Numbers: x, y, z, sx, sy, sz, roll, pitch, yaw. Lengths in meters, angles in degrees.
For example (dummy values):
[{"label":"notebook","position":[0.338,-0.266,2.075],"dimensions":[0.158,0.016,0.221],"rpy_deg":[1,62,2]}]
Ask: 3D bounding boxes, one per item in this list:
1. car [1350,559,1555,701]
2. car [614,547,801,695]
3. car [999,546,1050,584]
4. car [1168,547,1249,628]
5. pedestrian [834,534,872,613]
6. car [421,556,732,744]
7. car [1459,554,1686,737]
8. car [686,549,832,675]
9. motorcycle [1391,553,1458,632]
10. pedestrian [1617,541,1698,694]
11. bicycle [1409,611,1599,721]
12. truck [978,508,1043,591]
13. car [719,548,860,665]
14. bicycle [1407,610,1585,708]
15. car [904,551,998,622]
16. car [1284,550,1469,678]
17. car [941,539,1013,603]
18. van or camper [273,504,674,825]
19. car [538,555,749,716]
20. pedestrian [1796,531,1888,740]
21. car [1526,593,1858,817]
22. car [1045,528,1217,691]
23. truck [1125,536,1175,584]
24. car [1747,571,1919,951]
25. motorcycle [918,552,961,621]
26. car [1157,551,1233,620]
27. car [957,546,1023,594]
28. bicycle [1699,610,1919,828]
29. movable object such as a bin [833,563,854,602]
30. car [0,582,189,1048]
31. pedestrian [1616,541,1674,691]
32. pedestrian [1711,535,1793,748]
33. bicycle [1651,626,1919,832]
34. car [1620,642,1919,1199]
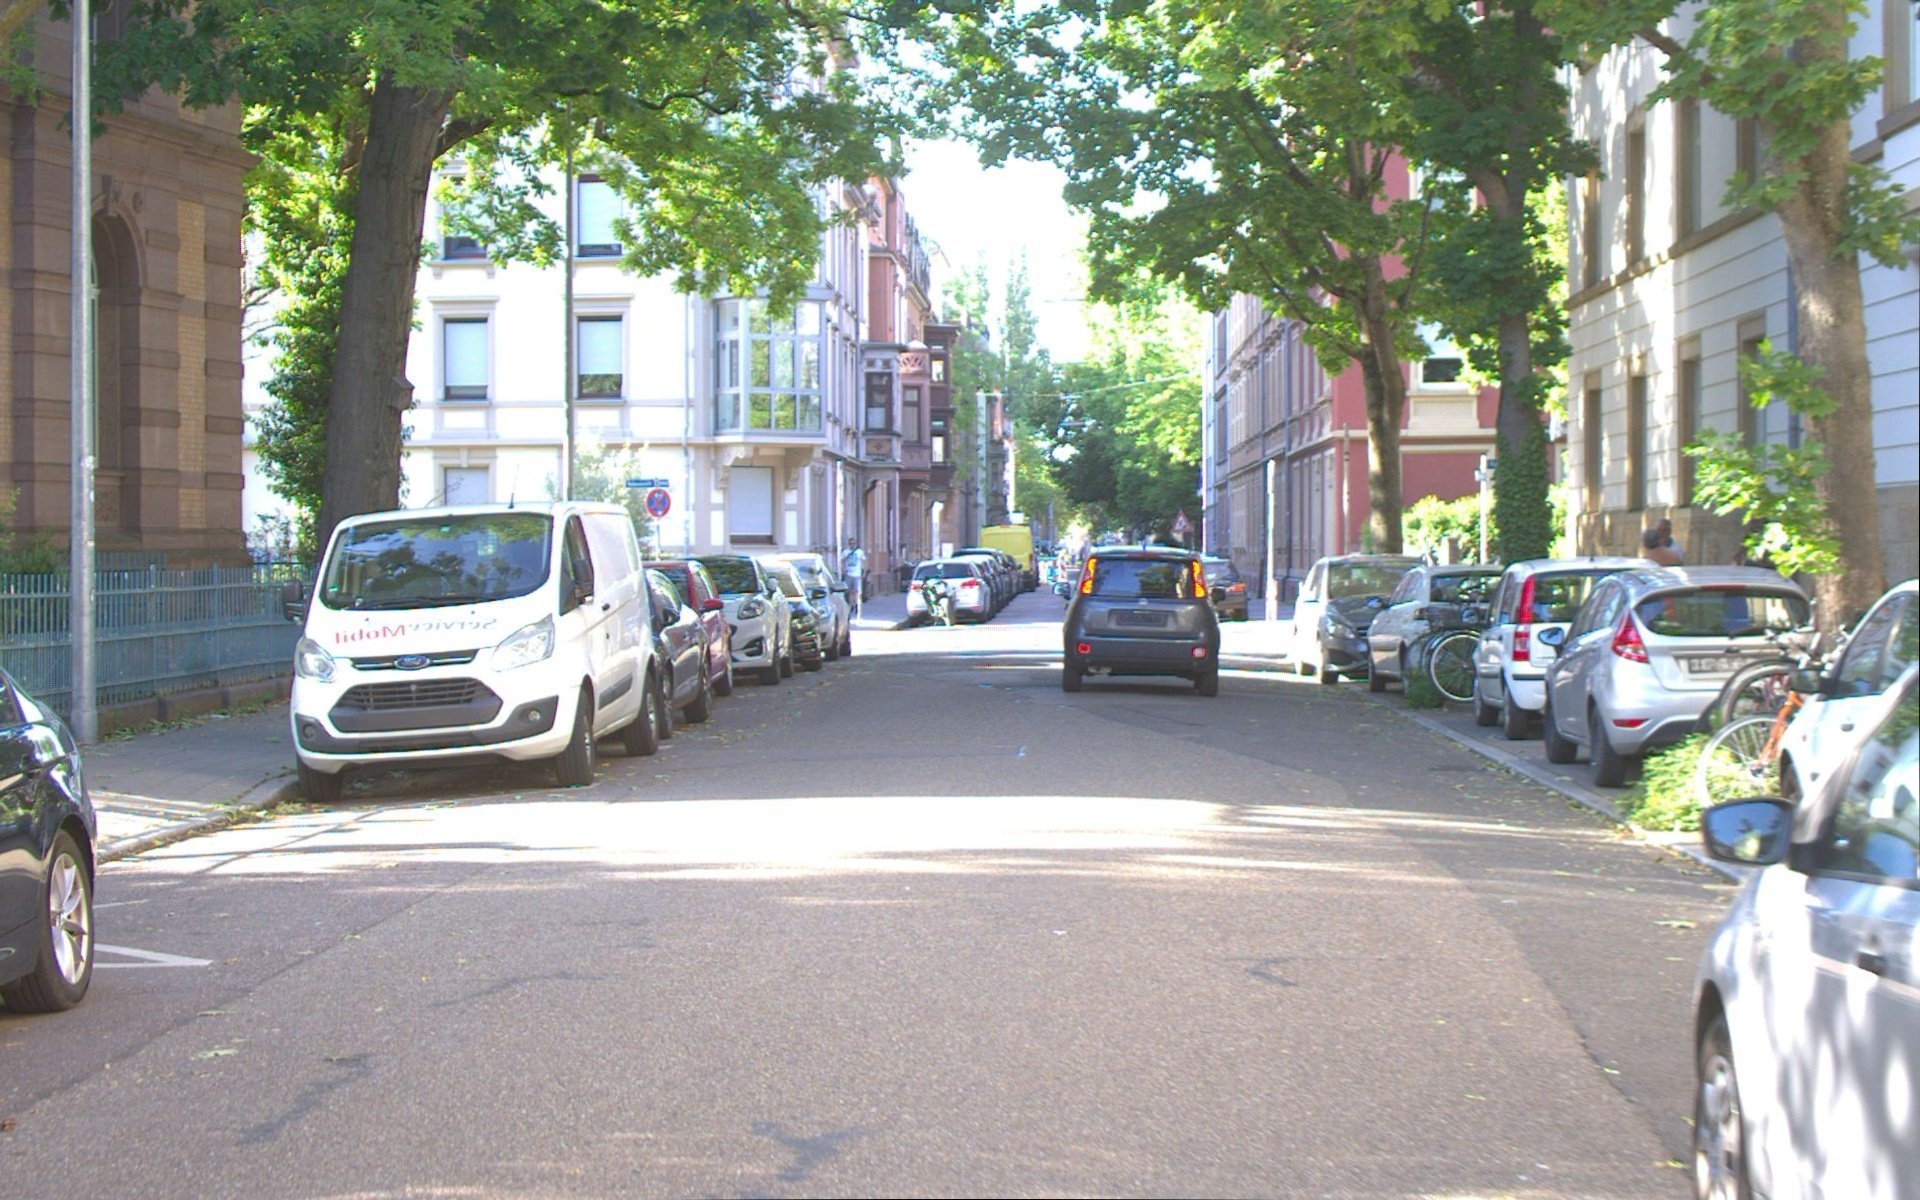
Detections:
[{"label":"car","position":[5.429,0.295,38.306],"dimensions":[1.610,1.473,3.871],"rpy_deg":[0,1,-2]},{"label":"car","position":[-2.931,0.208,40.653],"dimensions":[1.825,1.548,4.134],"rpy_deg":[-4,1,0]},{"label":"car","position":[2.736,-1.493,145.083],"dimensions":[1.962,1.474,3.924],"rpy_deg":[-3,1,3]},{"label":"car","position":[5.371,-0.292,74.545],"dimensions":[1.663,1.663,3.756],"rpy_deg":[1,1,3]},{"label":"pedestrian","position":[-2.530,-0.625,81.016],"dimensions":[0.723,1.833,0.626],"rpy_deg":[1,1,14]},{"label":"car","position":[-3.291,0.383,30.429],"dimensions":[2.001,1.452,4.606],"rpy_deg":[-2,1,2]},{"label":"car","position":[5.325,0.357,30.229],"dimensions":[1.520,1.505,3.543],"rpy_deg":[0,1,3]},{"label":"car","position":[-2.658,0.119,45.557],"dimensions":[1.746,1.469,4.465],"rpy_deg":[-4,1,-3]},{"label":"motorcycle","position":[8.897,-0.161,65.839],"dimensions":[1.020,1.399,2.191],"rpy_deg":[0,3,14]},{"label":"pedestrian","position":[7.852,0.188,38.720],"dimensions":[0.778,1.688,0.874],"rpy_deg":[1,1,5]},{"label":"bicycle","position":[5.330,0.640,33.760],"dimensions":[1.770,1.036,0.606],"rpy_deg":[1,1,3]},{"label":"truck","position":[1.934,-1.907,129.832],"dimensions":[2.070,2.916,5.067],"rpy_deg":[-4,1,3]},{"label":"car","position":[-2.477,0.061,50.655],"dimensions":[1.696,1.545,3.919],"rpy_deg":[-3,1,2]},{"label":"bicycle","position":[5.443,0.597,34.978],"dimensions":[1.715,0.946,0.733],"rpy_deg":[-1,1,3]},{"label":"car","position":[-0.172,-0.326,77.275],"dimensions":[1.797,1.427,3.924],"rpy_deg":[-3,1,3]},{"label":"car","position":[5.261,0.150,43.898],"dimensions":[1.789,1.545,4.410],"rpy_deg":[0,1,0]},{"label":"car","position":[0.518,-0.848,98.824],"dimensions":[1.775,1.693,3.924],"rpy_deg":[-3,1,3]},{"label":"van or camper","position":[-3.366,0.379,24.909],"dimensions":[1.922,1.973,5.462],"rpy_deg":[-3,1,1]},{"label":"car","position":[-3.195,0.320,35.331],"dimensions":[1.602,1.455,4.027],"rpy_deg":[-3,1,2]},{"label":"pedestrian","position":[7.279,0.281,28.384],"dimensions":[0.595,1.696,0.689],"rpy_deg":[1,1,4]},{"label":"car","position":[5.071,0.674,24.304],"dimensions":[1.622,1.389,4.157],"rpy_deg":[0,1,3]},{"label":"car","position":[1.755,0.065,36.151],"dimensions":[1.633,1.544,3.264],"rpy_deg":[2,2,1]},{"label":"truck","position":[7.901,-1.689,143.267],"dimensions":[1.994,1.985,4.000],"rpy_deg":[0,1,2]},{"label":"car","position":[4.691,0.622,15.411],"dimensions":[1.597,1.483,3.748],"rpy_deg":[-1,1,2]},{"label":"motorcycle","position":[-0.441,-0.295,73.987],"dimensions":[0.696,1.455,1.751],"rpy_deg":[-1,1,-7]},{"label":"car","position":[5.383,-0.351,79.043],"dimensions":[1.663,1.500,3.756],"rpy_deg":[1,1,3]},{"label":"car","position":[1.032,-1.024,115.761],"dimensions":[1.962,1.474,3.924],"rpy_deg":[-3,1,3]},{"label":"bicycle","position":[5.475,0.690,20.479],"dimensions":[1.969,1.225,0.760],"rpy_deg":[-2,1,3]},{"label":"movable object such as a bin","position":[-2.888,-0.434,85.303],"dimensions":[0.511,0.949,0.501],"rpy_deg":[0,1,0]},{"label":"car","position":[-3.810,0.720,10.387],"dimensions":[1.714,1.390,4.779],"rpy_deg":[-4,1,1]},{"label":"pedestrian","position":[7.895,0.175,39.651],"dimensions":[0.489,1.700,0.757],"rpy_deg":[1,1,1]},{"label":"pedestrian","position":[6.543,0.333,28.430],"dimensions":[0.520,1.729,0.878],"rpy_deg":[0,1,4]},{"label":"bicycle","position":[4.875,0.700,19.023],"dimensions":[1.969,1.069,0.599],"rpy_deg":[-2,1,3]},{"label":"car","position":[2.318,0.913,5.970],"dimensions":[1.679,1.539,3.800],"rpy_deg":[1,1,1]}]
